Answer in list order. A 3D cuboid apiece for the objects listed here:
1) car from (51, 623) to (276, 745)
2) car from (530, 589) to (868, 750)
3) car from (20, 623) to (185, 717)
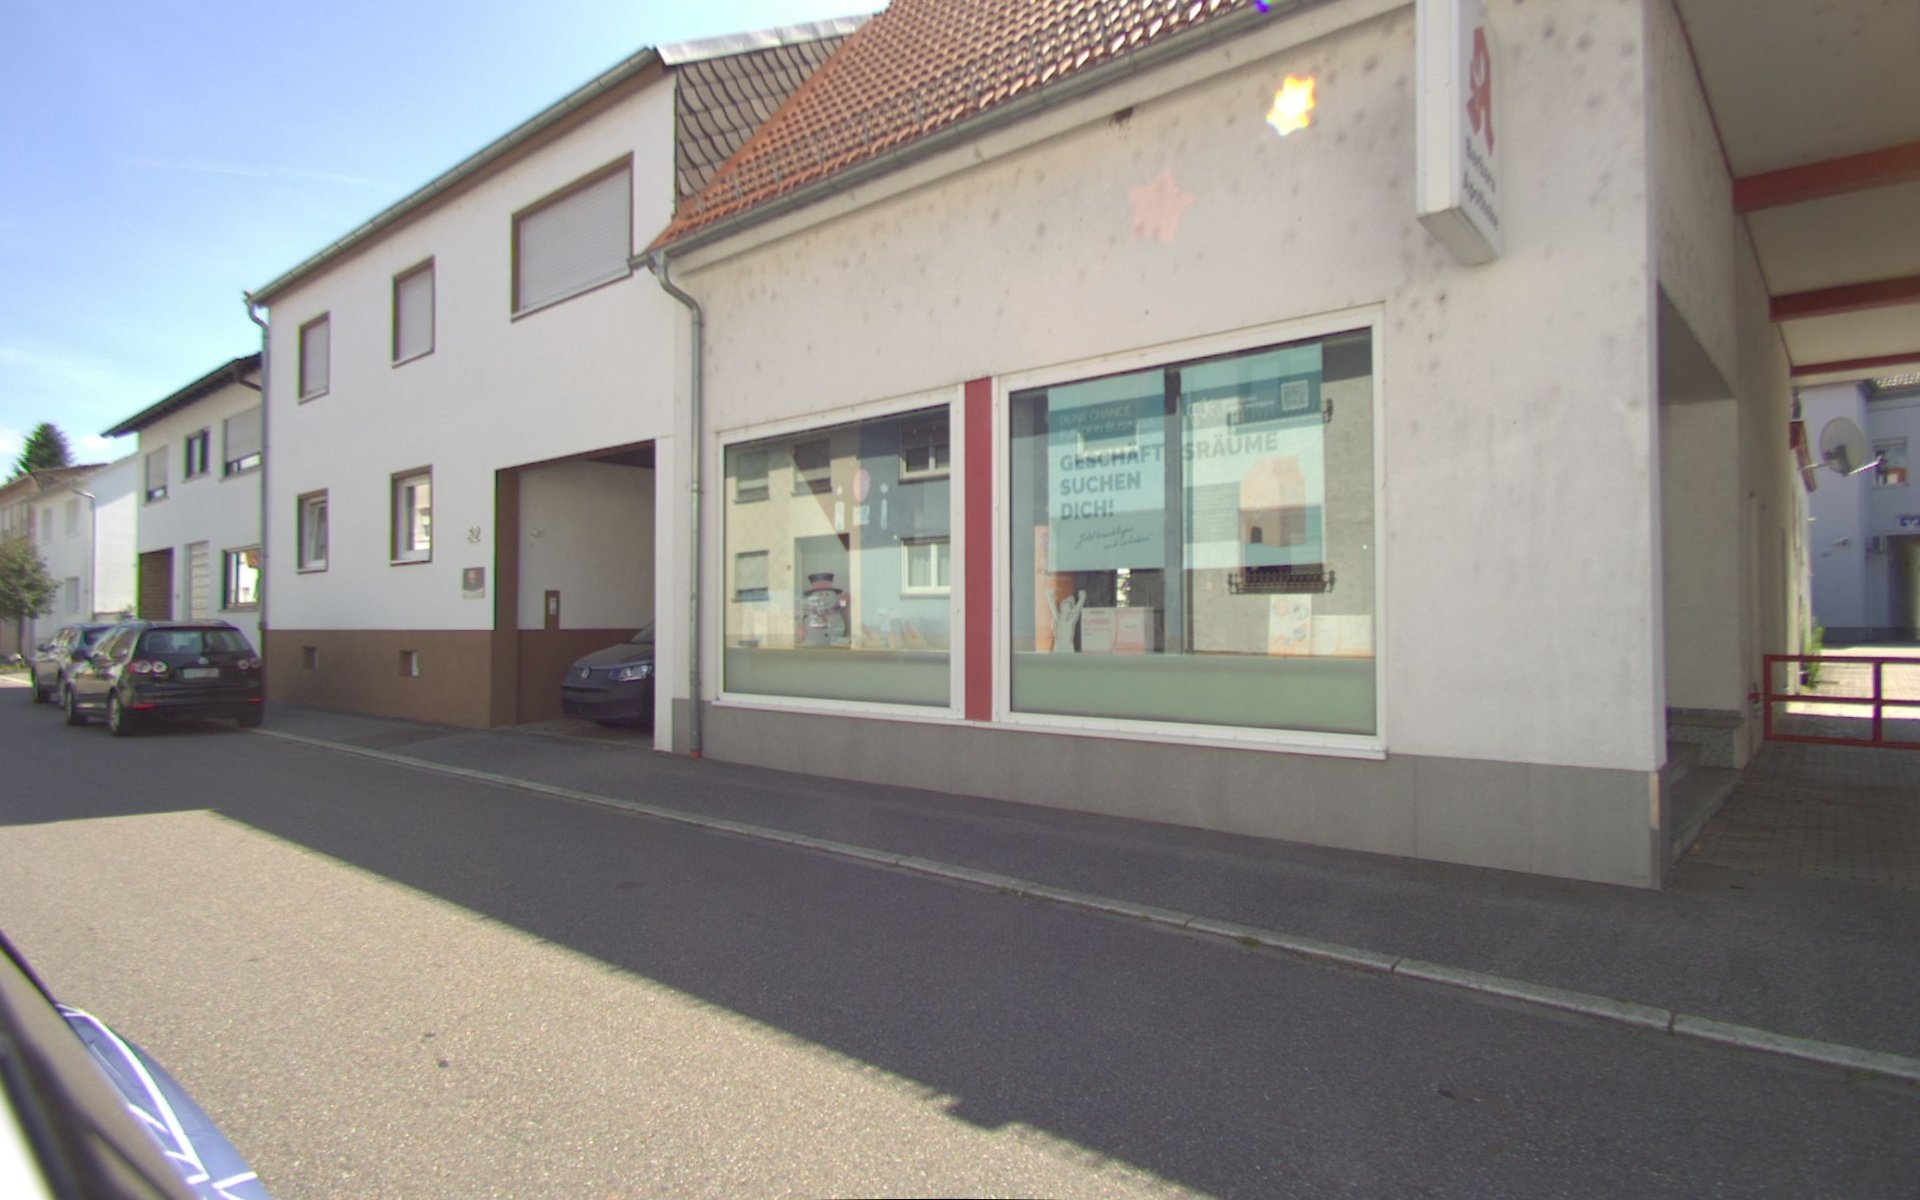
[{"bbox_3d":[-11.883,1.146,15.028,3.949,1.578,1.731,-2,-2,38],"label":"car"},{"bbox_3d":[-3.271,0.774,13.282,1.813,1.731,3.946,-2,0,41],"label":"car"},{"bbox_3d":[-16.687,1.284,19.642,4.117,1.630,1.736,-2,-2,40],"label":"car"}]
